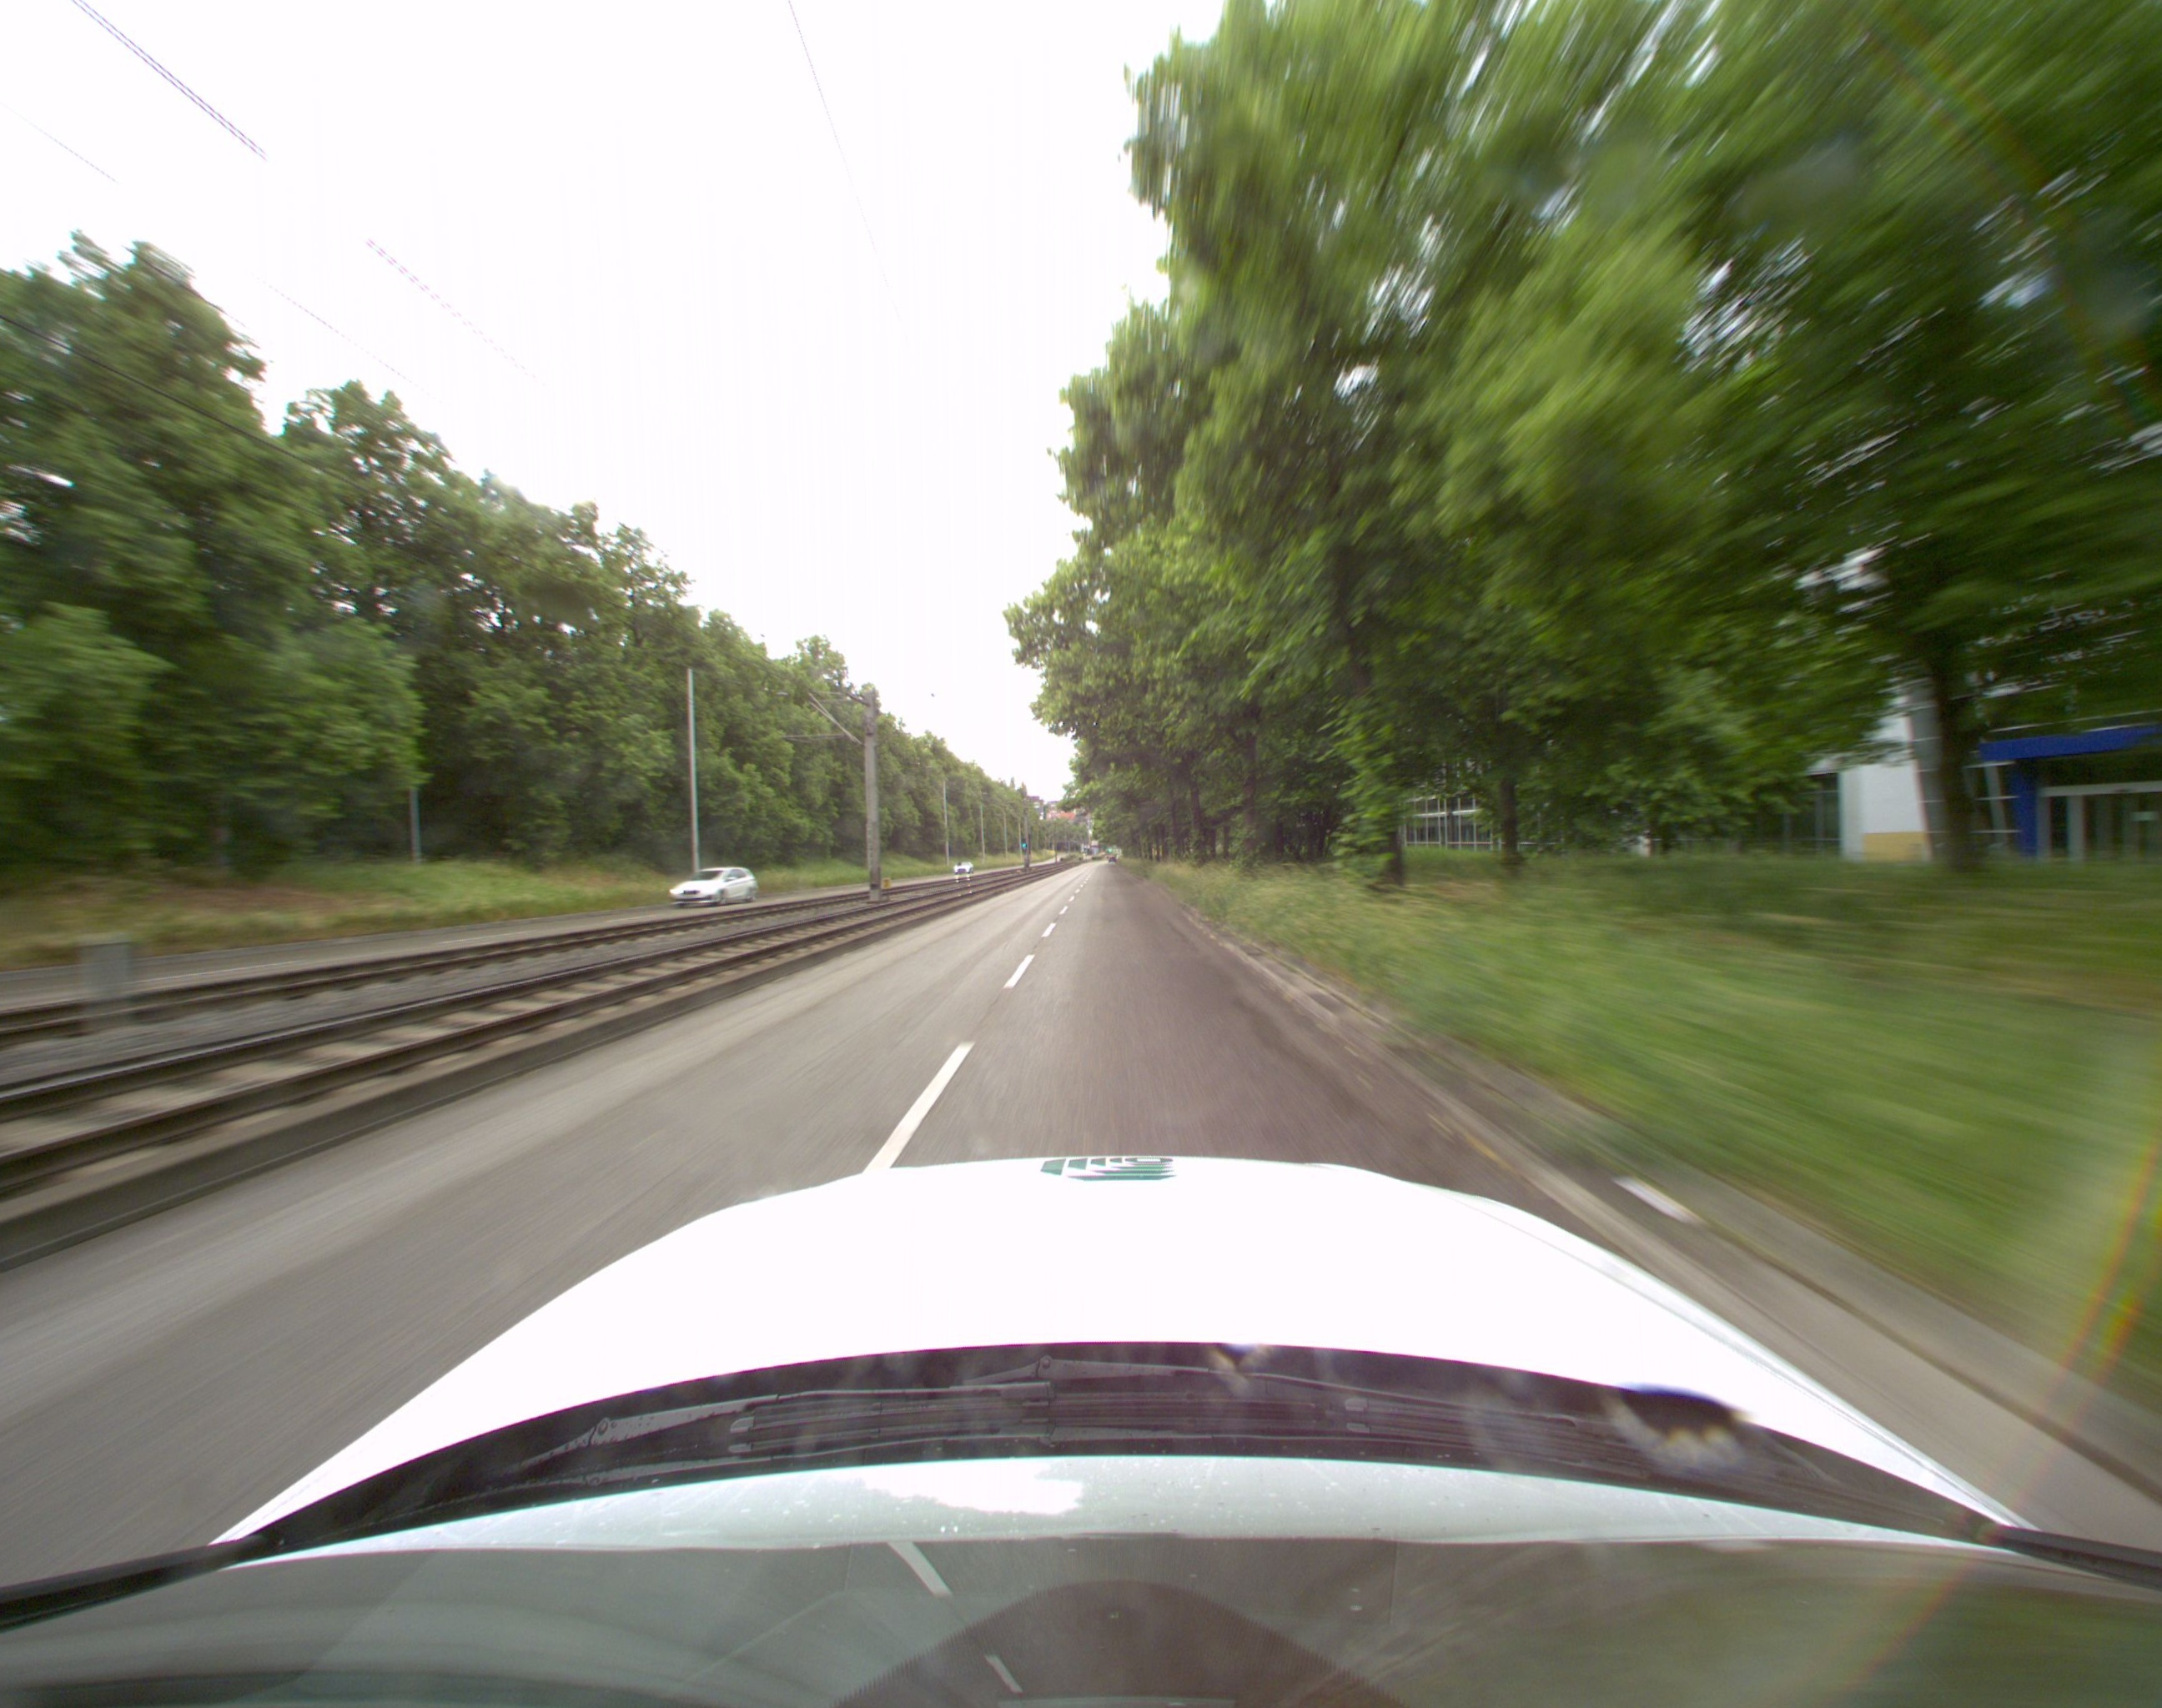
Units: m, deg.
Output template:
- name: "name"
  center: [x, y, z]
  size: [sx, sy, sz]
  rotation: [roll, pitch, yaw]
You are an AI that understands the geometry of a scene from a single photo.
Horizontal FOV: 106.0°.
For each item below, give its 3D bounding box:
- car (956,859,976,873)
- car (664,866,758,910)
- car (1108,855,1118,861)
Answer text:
- name: "car"
  center: [-13.045, 1.356, 92.644]
  size: [1.470, 1.436, 3.911]
  rotation: [-3, 0, 2]
- name: "car"
  center: [-15.006, 1.328, 33.280]
  size: [1.646, 1.529, 4.383]
  rotation: [-2, 0, 2]
- name: "car"
  center: [7.238, 0.934, 186.387]
  size: [2.186, 1.329, 4.001]
  rotation: [-1, 1, 1]
